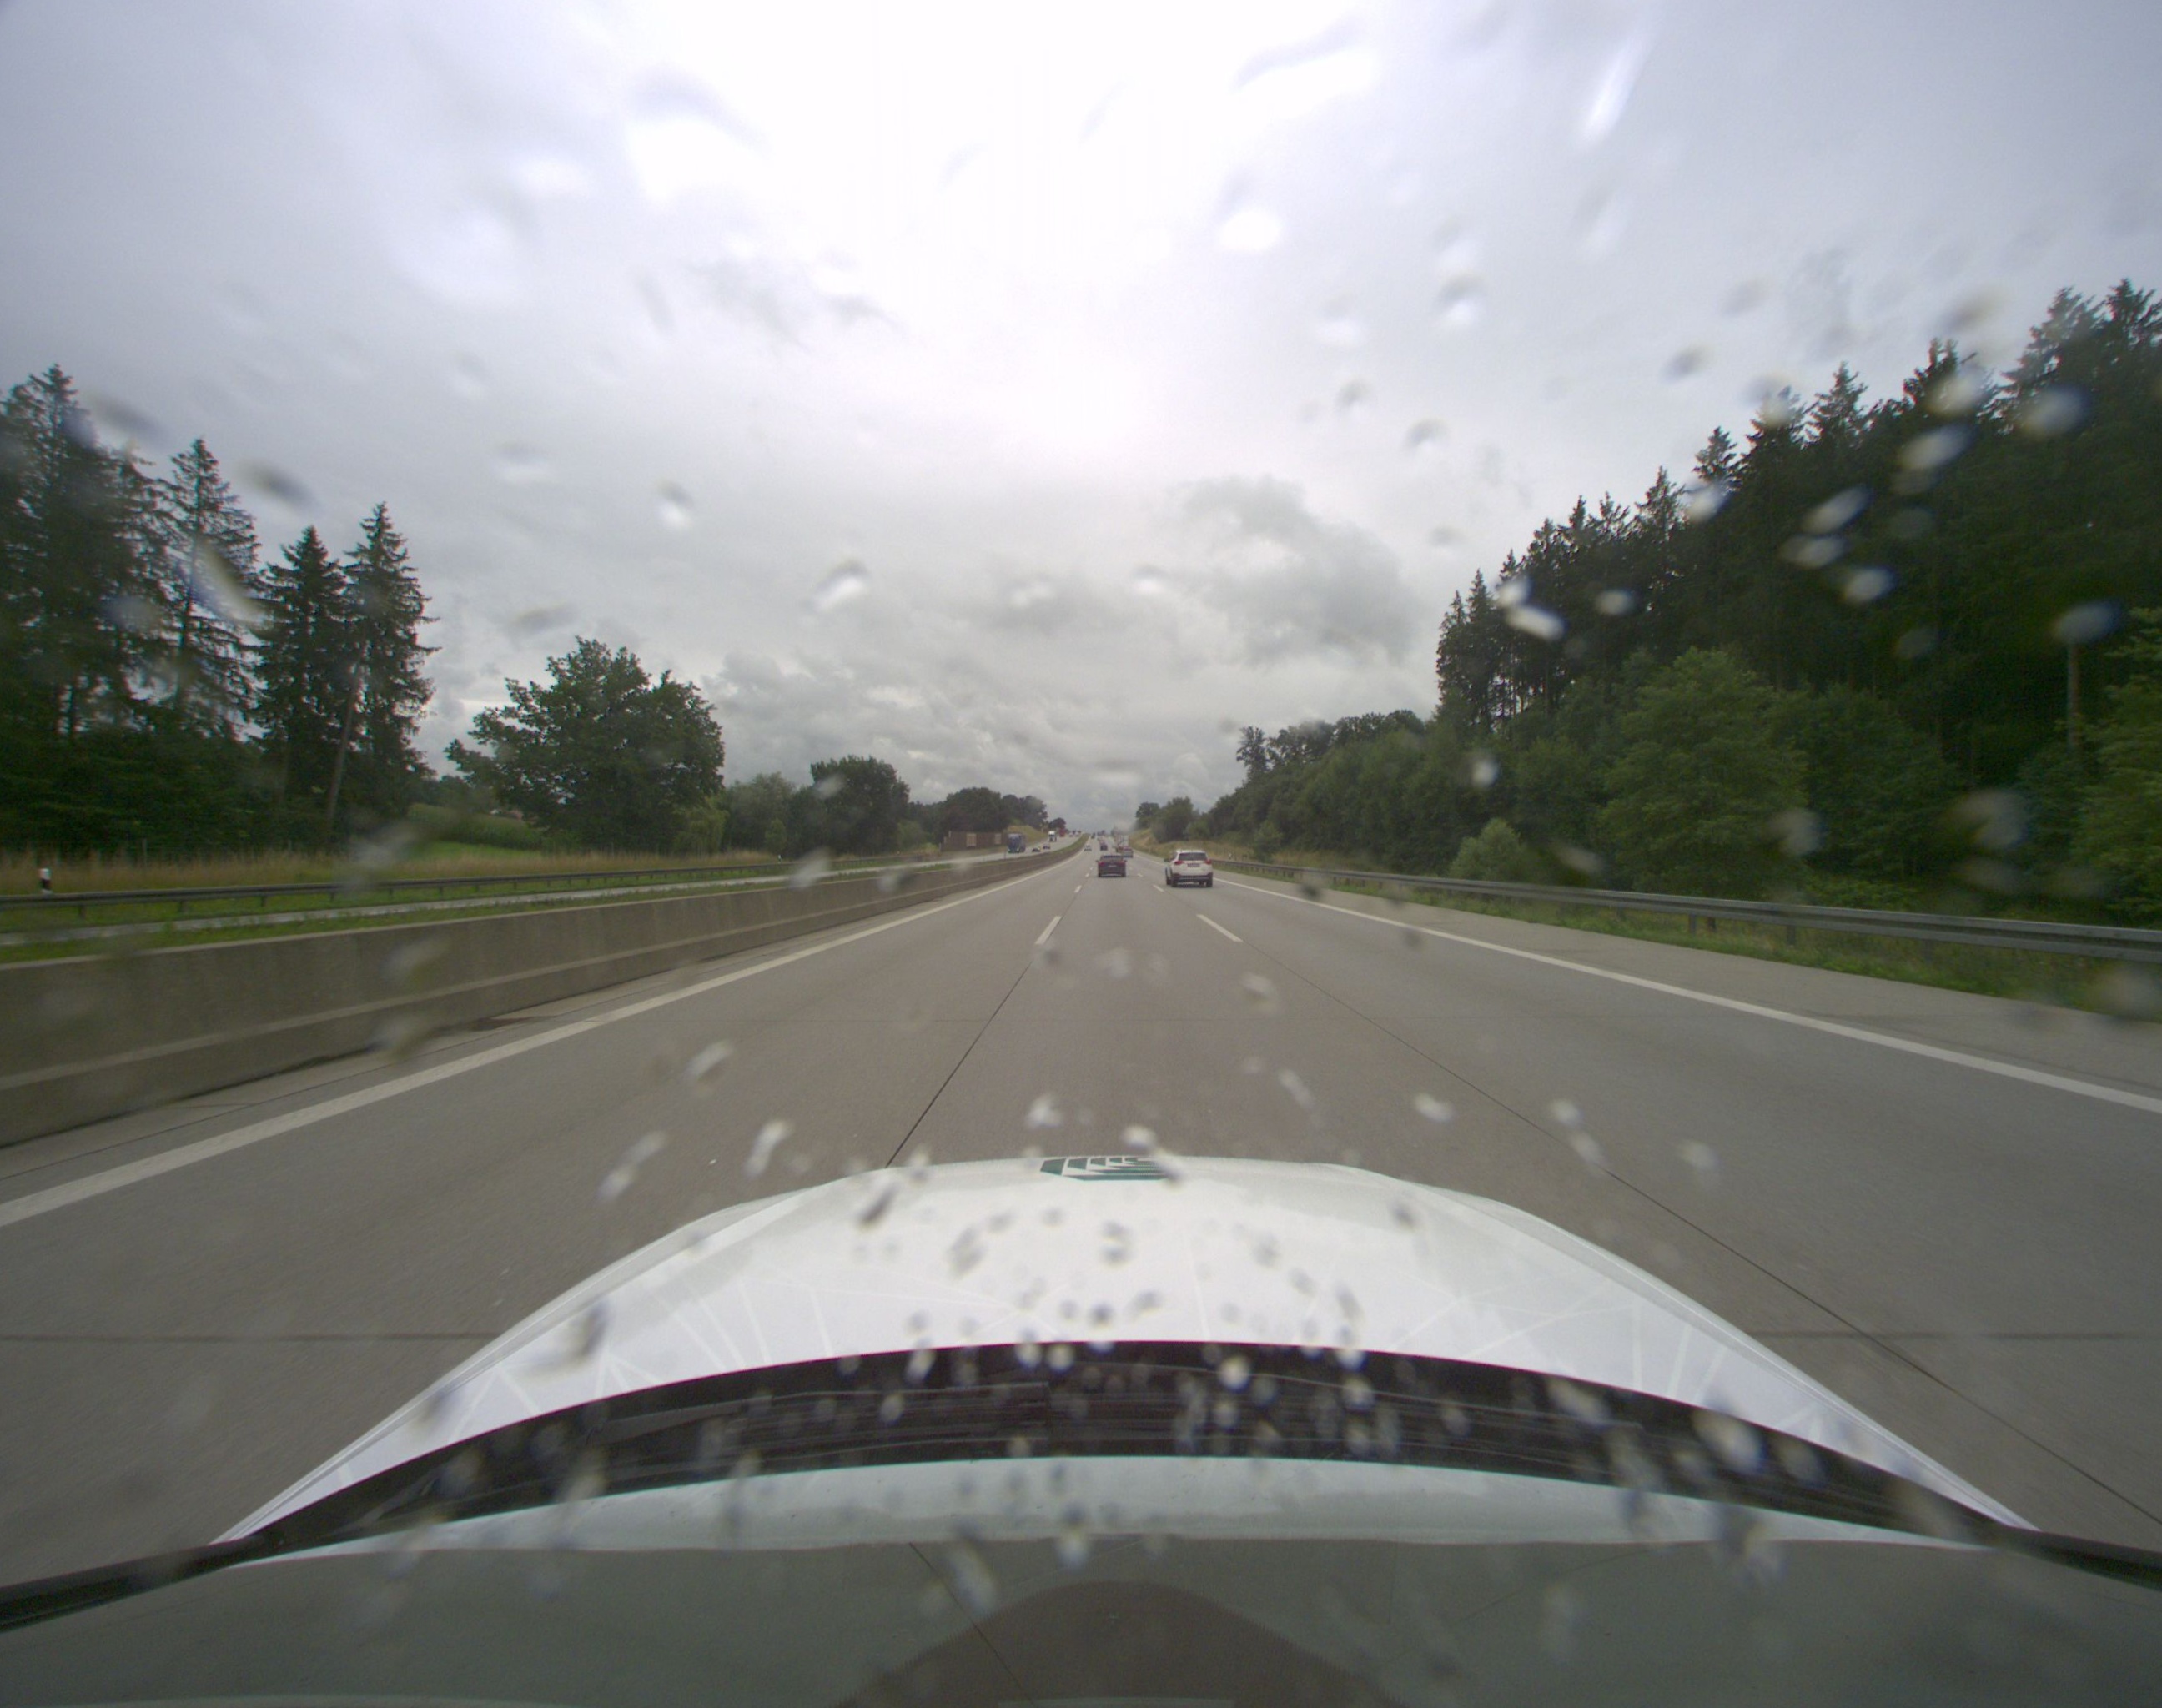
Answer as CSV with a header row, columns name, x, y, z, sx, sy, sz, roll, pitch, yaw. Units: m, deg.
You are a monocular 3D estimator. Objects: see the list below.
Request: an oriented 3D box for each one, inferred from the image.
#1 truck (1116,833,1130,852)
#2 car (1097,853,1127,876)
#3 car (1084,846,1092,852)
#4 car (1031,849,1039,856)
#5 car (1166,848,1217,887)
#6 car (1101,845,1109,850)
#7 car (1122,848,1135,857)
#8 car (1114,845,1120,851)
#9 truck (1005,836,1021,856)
name,x,y,z,sx,sy,sz,roll,pitch,yaw
truck,9.236,-2.547,180.232,3.007,4.180,8.357,0,1,1
car,1.892,0.694,51.262,1.747,1.398,4.483,0,-1,0
car,1.882,-1.174,207.555,1.940,1.356,4.261,-1,-2,2
car,-10.366,-0.296,184.511,1.631,1.500,4.517,0,-1,0
car,4.956,0.566,36.910,1.820,1.655,3.985,0,0,0
car,6.134,-1.615,207.006,1.927,1.375,4.597,0,0,2
car,7.516,-0.249,129.748,1.986,1.530,4.002,0,0,2
car,10.817,-1.885,244.197,1.985,1.640,4.004,0,1,3
truck,-14.765,-1.732,177.060,2.681,4.188,6.213,0,0,2
